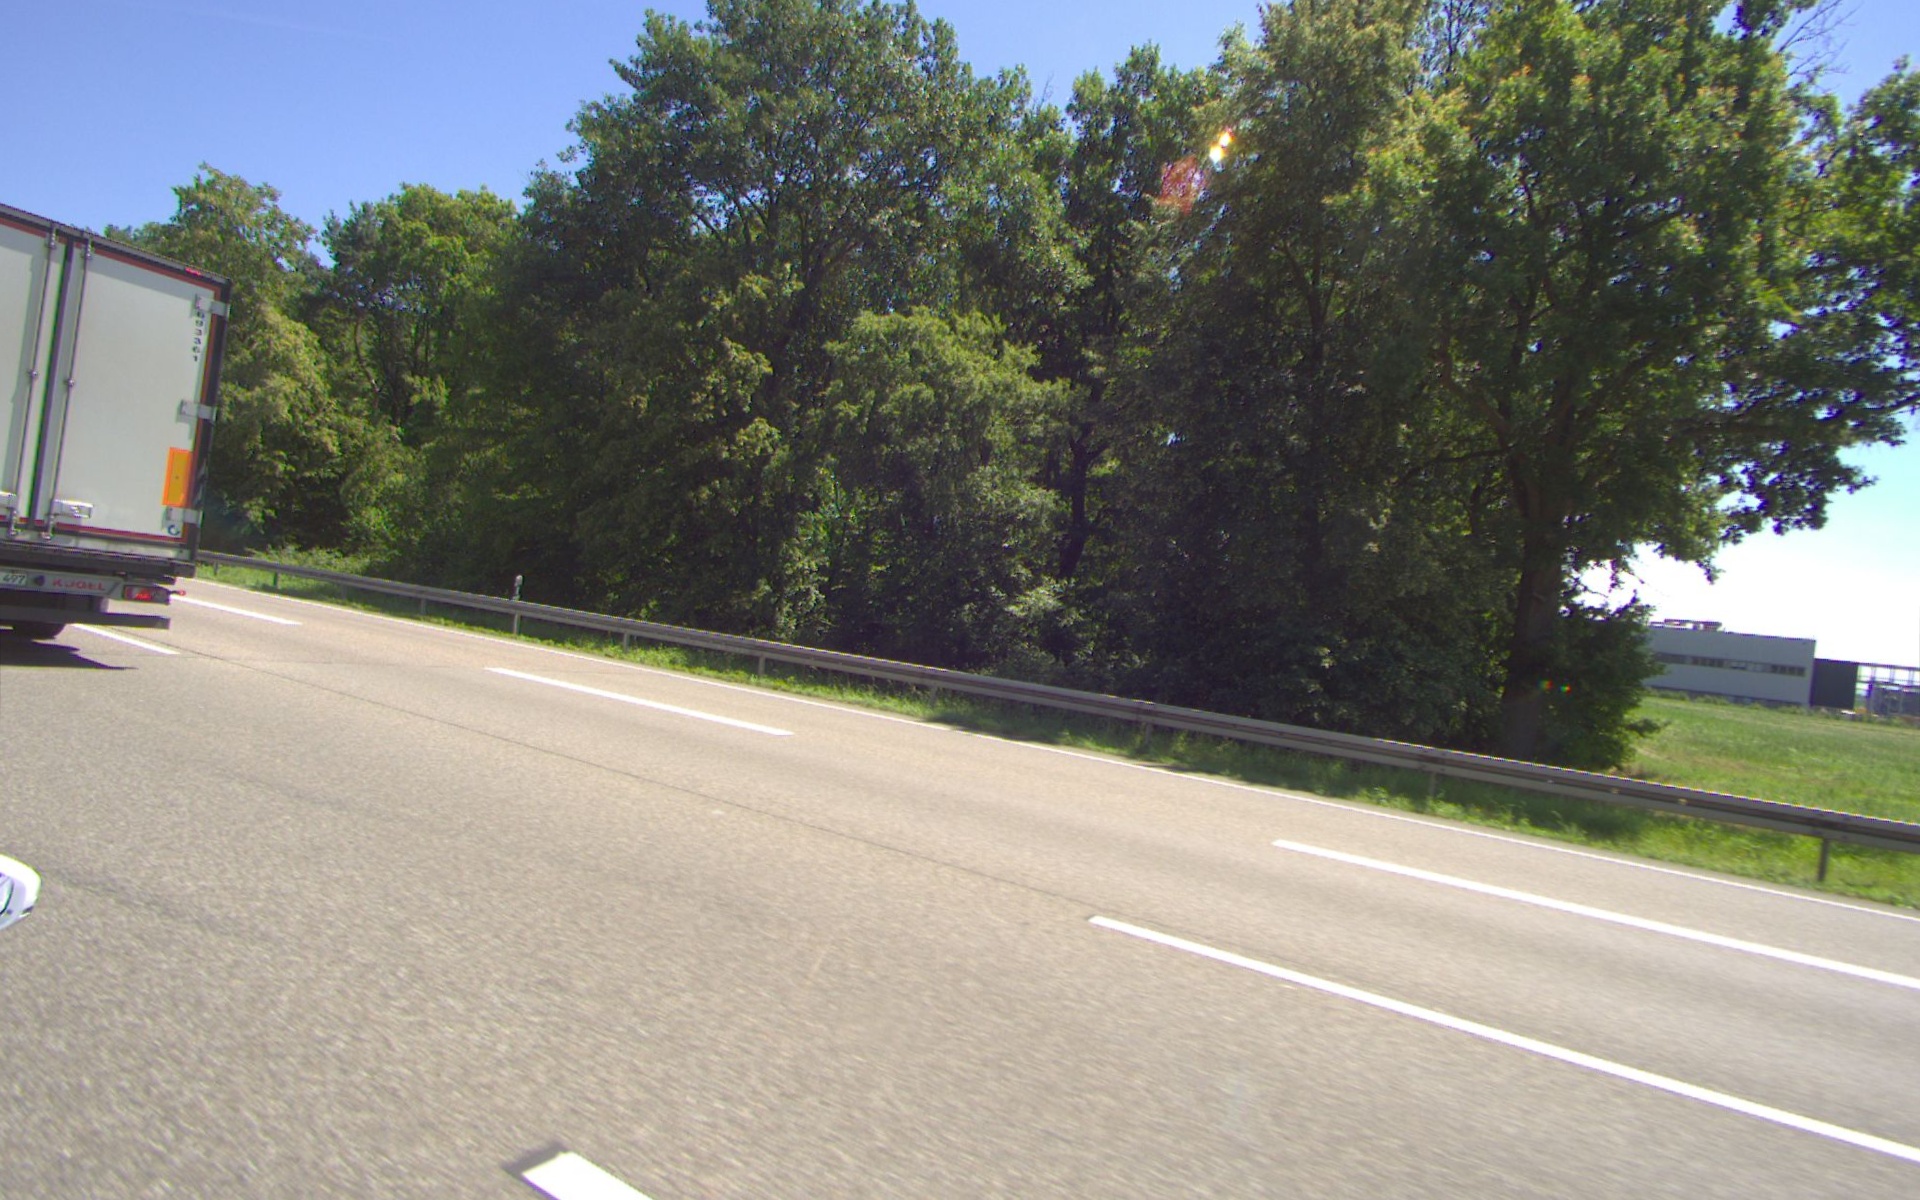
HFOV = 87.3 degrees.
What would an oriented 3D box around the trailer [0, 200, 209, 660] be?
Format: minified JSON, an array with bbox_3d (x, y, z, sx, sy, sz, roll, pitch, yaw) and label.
[{"bbox_3d":[-14.089,-2.167,12.521,12.149,4.194,3.227,7,0,33],"label":"trailer"}]
